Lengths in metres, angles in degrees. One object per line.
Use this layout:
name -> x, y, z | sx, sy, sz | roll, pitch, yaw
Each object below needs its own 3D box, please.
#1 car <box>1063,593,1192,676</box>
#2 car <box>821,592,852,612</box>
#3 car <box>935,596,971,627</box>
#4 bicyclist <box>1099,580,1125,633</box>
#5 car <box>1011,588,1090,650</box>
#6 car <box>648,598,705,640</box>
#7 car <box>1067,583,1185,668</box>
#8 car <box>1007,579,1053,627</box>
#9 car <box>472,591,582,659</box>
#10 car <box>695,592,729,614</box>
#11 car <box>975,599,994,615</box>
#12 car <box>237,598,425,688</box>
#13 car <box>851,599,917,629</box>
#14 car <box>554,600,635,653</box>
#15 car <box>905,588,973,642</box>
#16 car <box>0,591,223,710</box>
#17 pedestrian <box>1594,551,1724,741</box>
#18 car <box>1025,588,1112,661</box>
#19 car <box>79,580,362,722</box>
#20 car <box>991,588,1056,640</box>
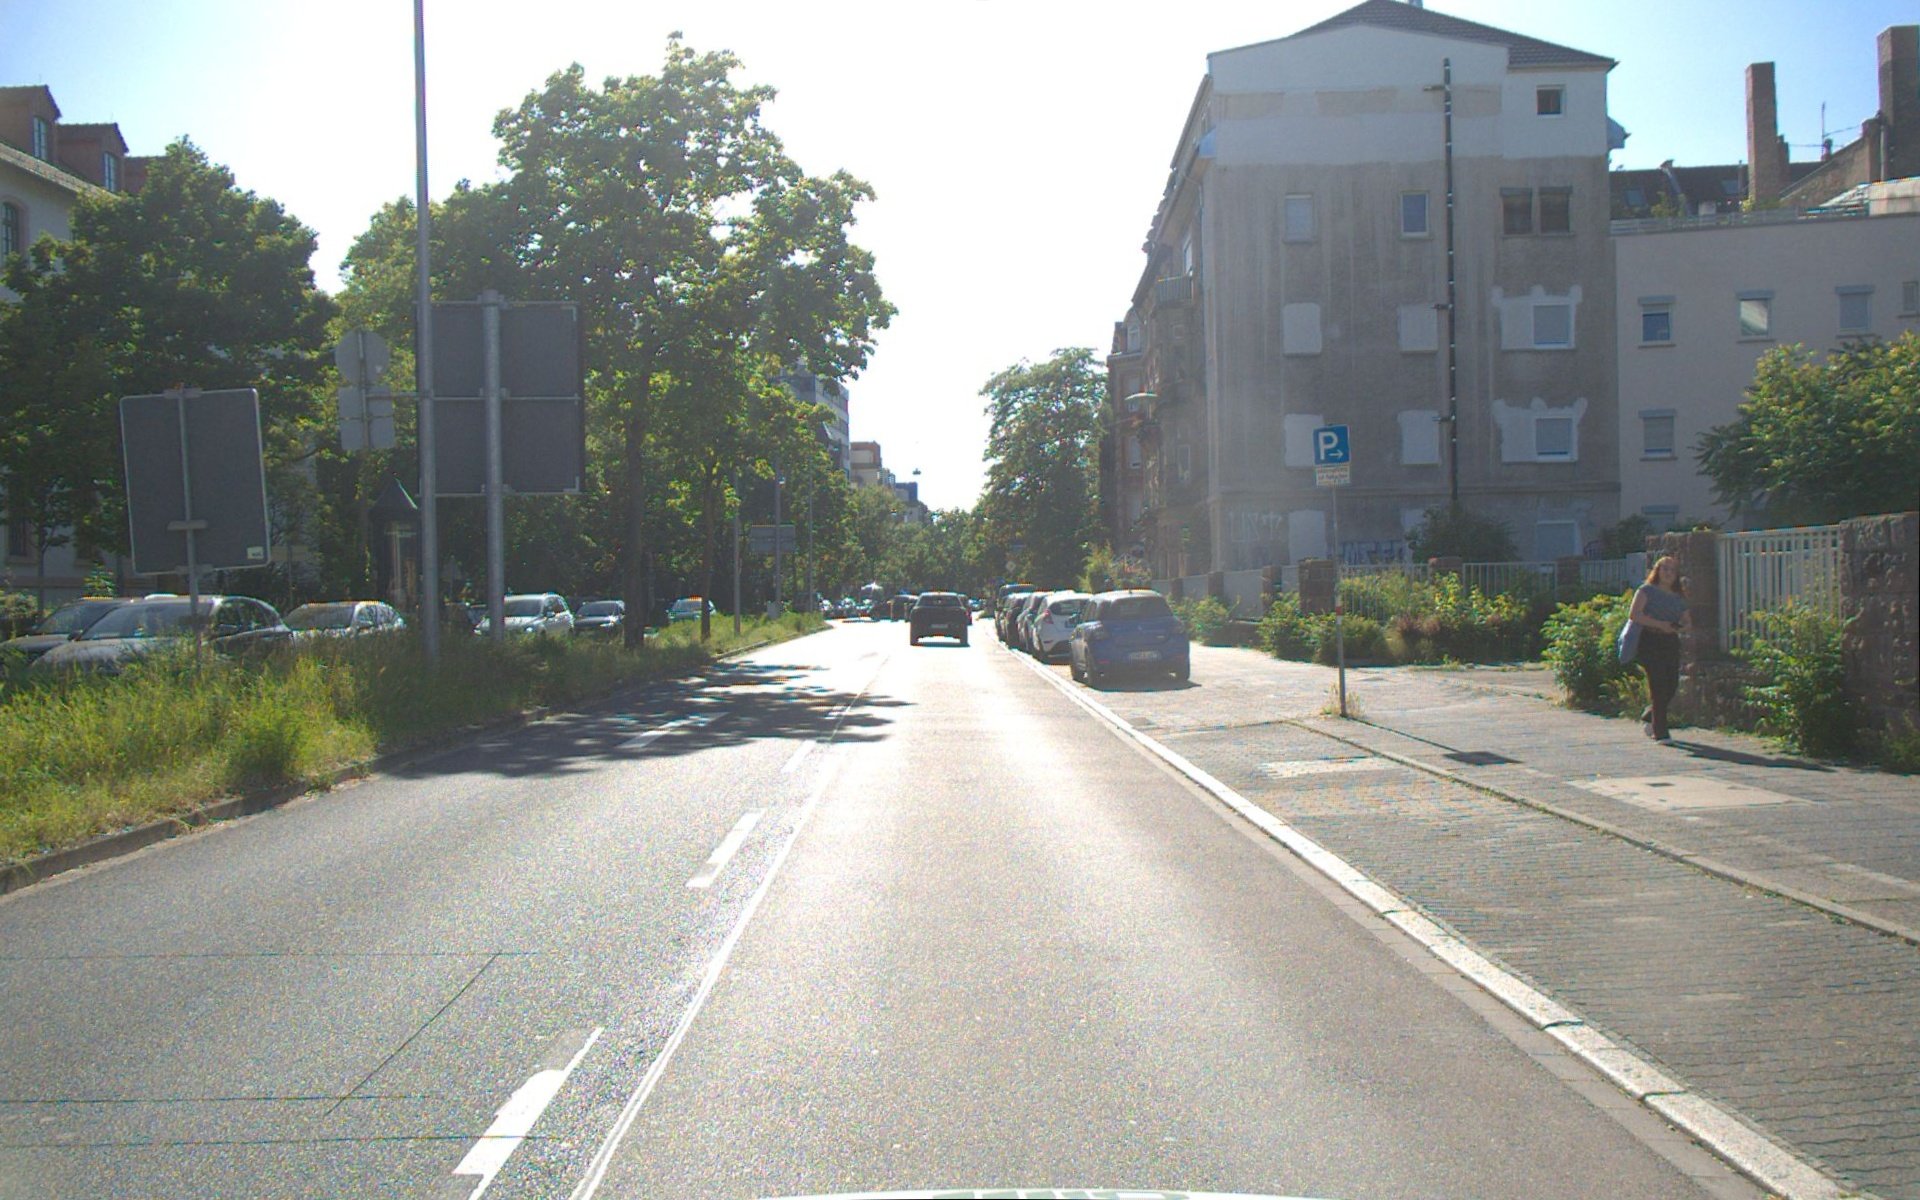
car -> 2.847, 0.546, 28.871 | 1.635, 1.203, 3.899 | -4, 1, -2
car -> -9.839, 0.125, 132.268 | 1.721, 1.545, 3.862 | -1, 0, 7
car -> -0.389, 0.576, 82.696 | 1.756, 1.547, 3.848 | 0, -1, -1
bicyclist -> 4.715, 0.184, 51.454 | 0.726, 1.607, 1.100 | 0, 1, 1
car -> 2.379, 0.472, 44.173 | 1.635, 1.545, 3.658 | -1, 1, -4
car -> -11.051, 0.725, 64.642 | 1.605, 1.545, 4.257 | -1, 0, -2
car -> 3.296, 0.467, 33.493 | 1.635, 1.485, 3.983 | -4, 1, -4
car -> 2.874, 0.111, 68.167 | 1.781, 1.876, 4.365 | -1, 1, 2
car -> -11.585, 0.629, 44.542 | 1.862, 1.654, 4.535 | -2, 0, -2
car -> -20.089, 0.243, 133.764 | 1.946, 1.691, 3.976 | -1, 0, -20
car -> 2.578, 0.724, 173.071 | 1.880, 1.668, 4.001 | -1, 0, 2
car -> -12.011, 0.765, 31.915 | 1.801, 1.545, 4.666 | -1, 0, 0
car -> -4.409, 0.806, 95.998 | 3.773, 1.662, 1.619 | 0, -3, -3
car -> -11.656, 0.843, 52.969 | 1.759, 1.545, 4.085 | -2, -1, -2
car -> -0.685, 0.419, 50.319 | 1.857, 1.545, 3.997 | 1, 0, -3
car -> -12.363, 0.704, 23.643 | 1.759, 1.546, 4.257 | 0, -1, -1
pedestrian -> 6.188, 0.393, 14.681 | 0.728, 1.611, 0.896 | -2, 0, -1
car -> 2.469, 0.527, 38.418 | 1.576, 1.471, 3.657 | -4, 1, -2
car -> -9.363, 0.694, 21.364 | 1.717, 1.646, 4.321 | 0, -3, -1
car -> 1.825, 0.388, 48.629 | 1.634, 1.418, 3.774 | -1, 1, -2
